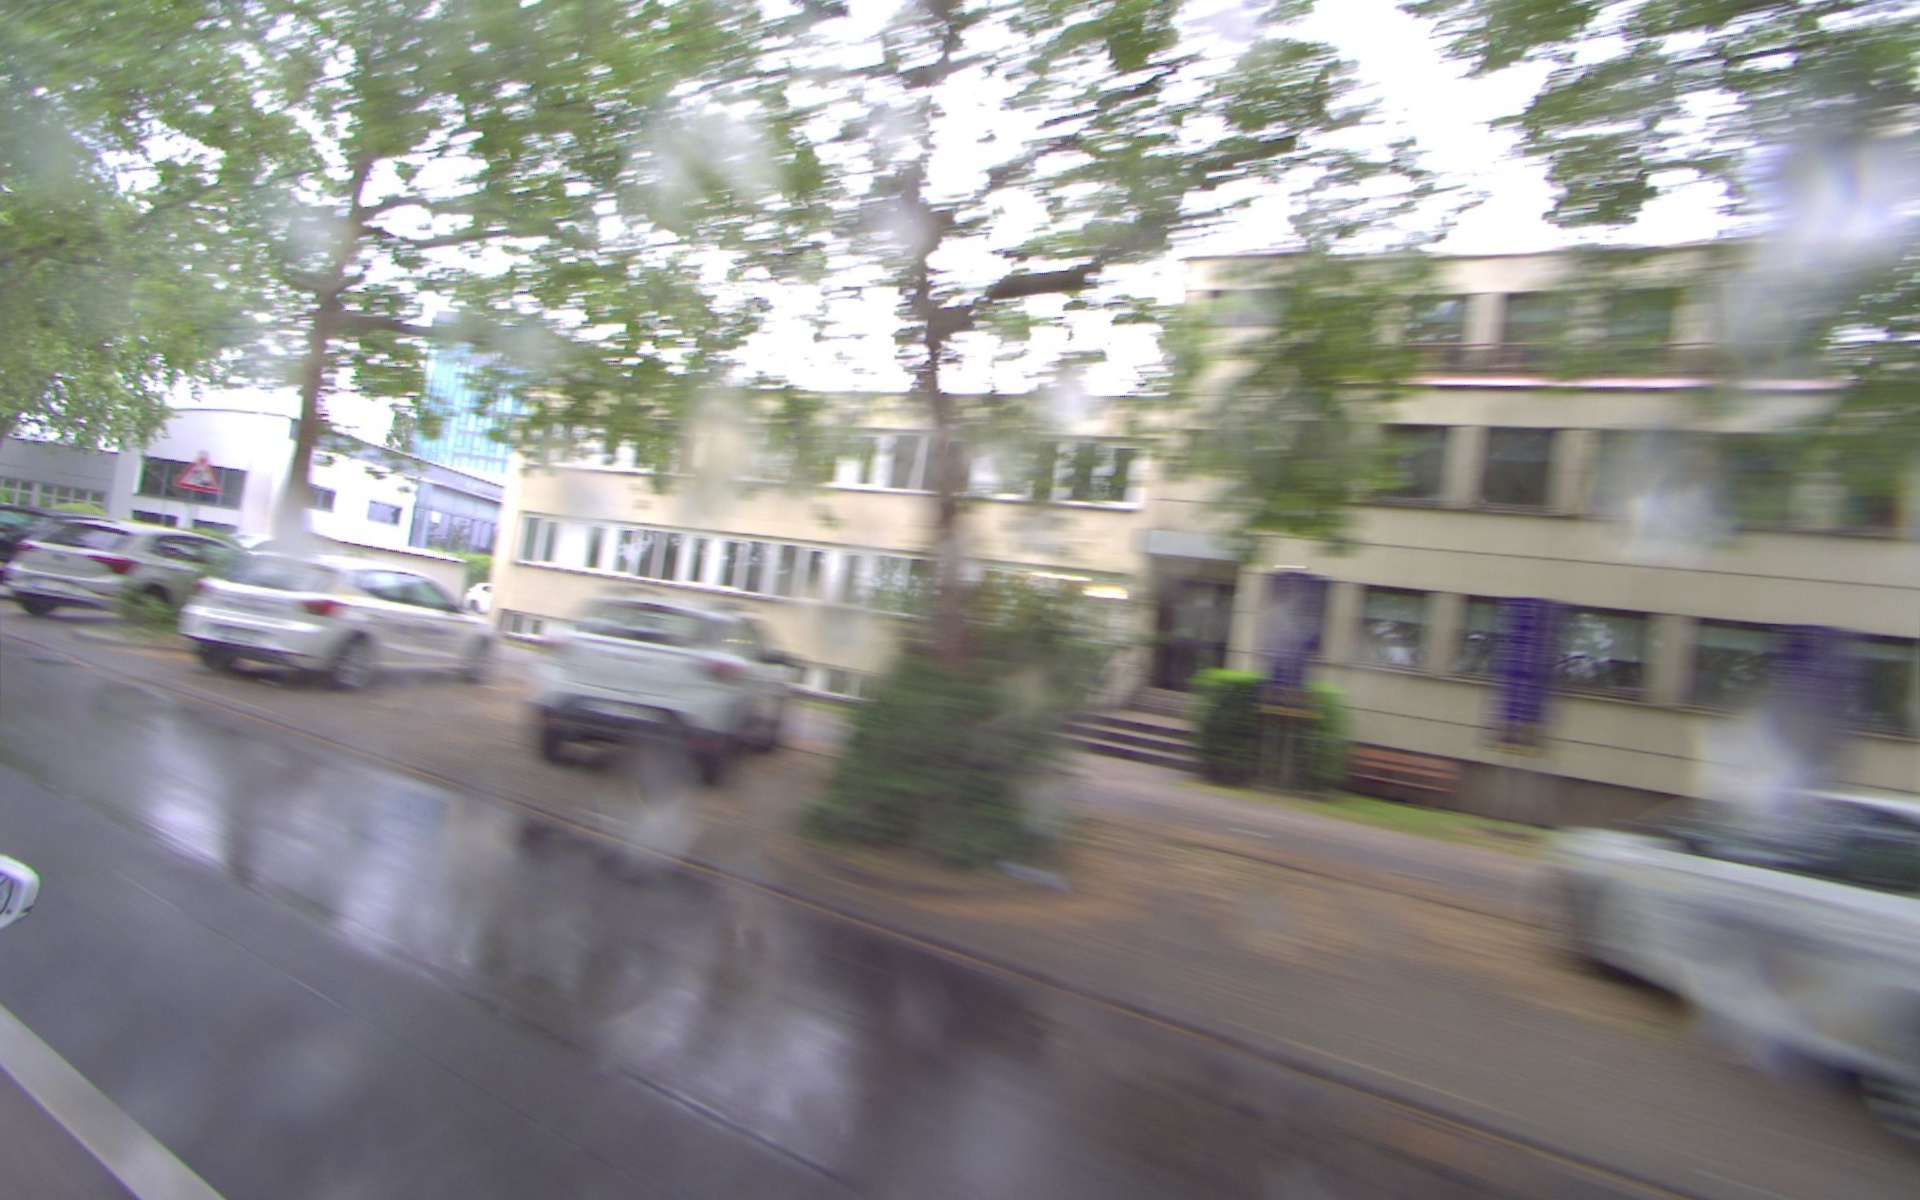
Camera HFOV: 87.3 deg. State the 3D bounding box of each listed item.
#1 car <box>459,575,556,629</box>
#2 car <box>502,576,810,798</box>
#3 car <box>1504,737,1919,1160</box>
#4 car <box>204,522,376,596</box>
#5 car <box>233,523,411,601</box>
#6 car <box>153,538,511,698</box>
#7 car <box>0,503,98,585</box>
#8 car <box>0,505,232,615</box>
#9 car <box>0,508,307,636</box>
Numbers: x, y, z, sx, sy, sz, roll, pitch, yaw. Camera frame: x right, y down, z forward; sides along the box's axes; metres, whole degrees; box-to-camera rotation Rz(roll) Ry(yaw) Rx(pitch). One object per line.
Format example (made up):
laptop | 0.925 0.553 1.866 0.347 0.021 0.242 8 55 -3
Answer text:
car | -19.644 0.097 43.682 3.697 1.777 1.749 7 -2 27
car | -2.759 0.785 10.164 1.717 1.556 4.041 8 -2 0
car | 4.898 1.757 5.365 1.717 1.444 4.042 8 -2 1
car | -23.027 -1.352 34.792 1.748 1.777 4.554 7 -2 24
car | -20.788 -1.180 33.022 1.718 1.777 4.552 7 -2 26
car | -7.388 0.280 12.344 1.716 1.432 3.697 8 -2 5
car | -19.715 -1.291 19.513 1.716 1.475 4.502 8 -2 5
car | -14.637 -0.644 17.038 1.717 1.432 3.696 8 -2 1
car | -12.023 -0.317 15.162 1.743 1.432 3.696 8 -2 1
